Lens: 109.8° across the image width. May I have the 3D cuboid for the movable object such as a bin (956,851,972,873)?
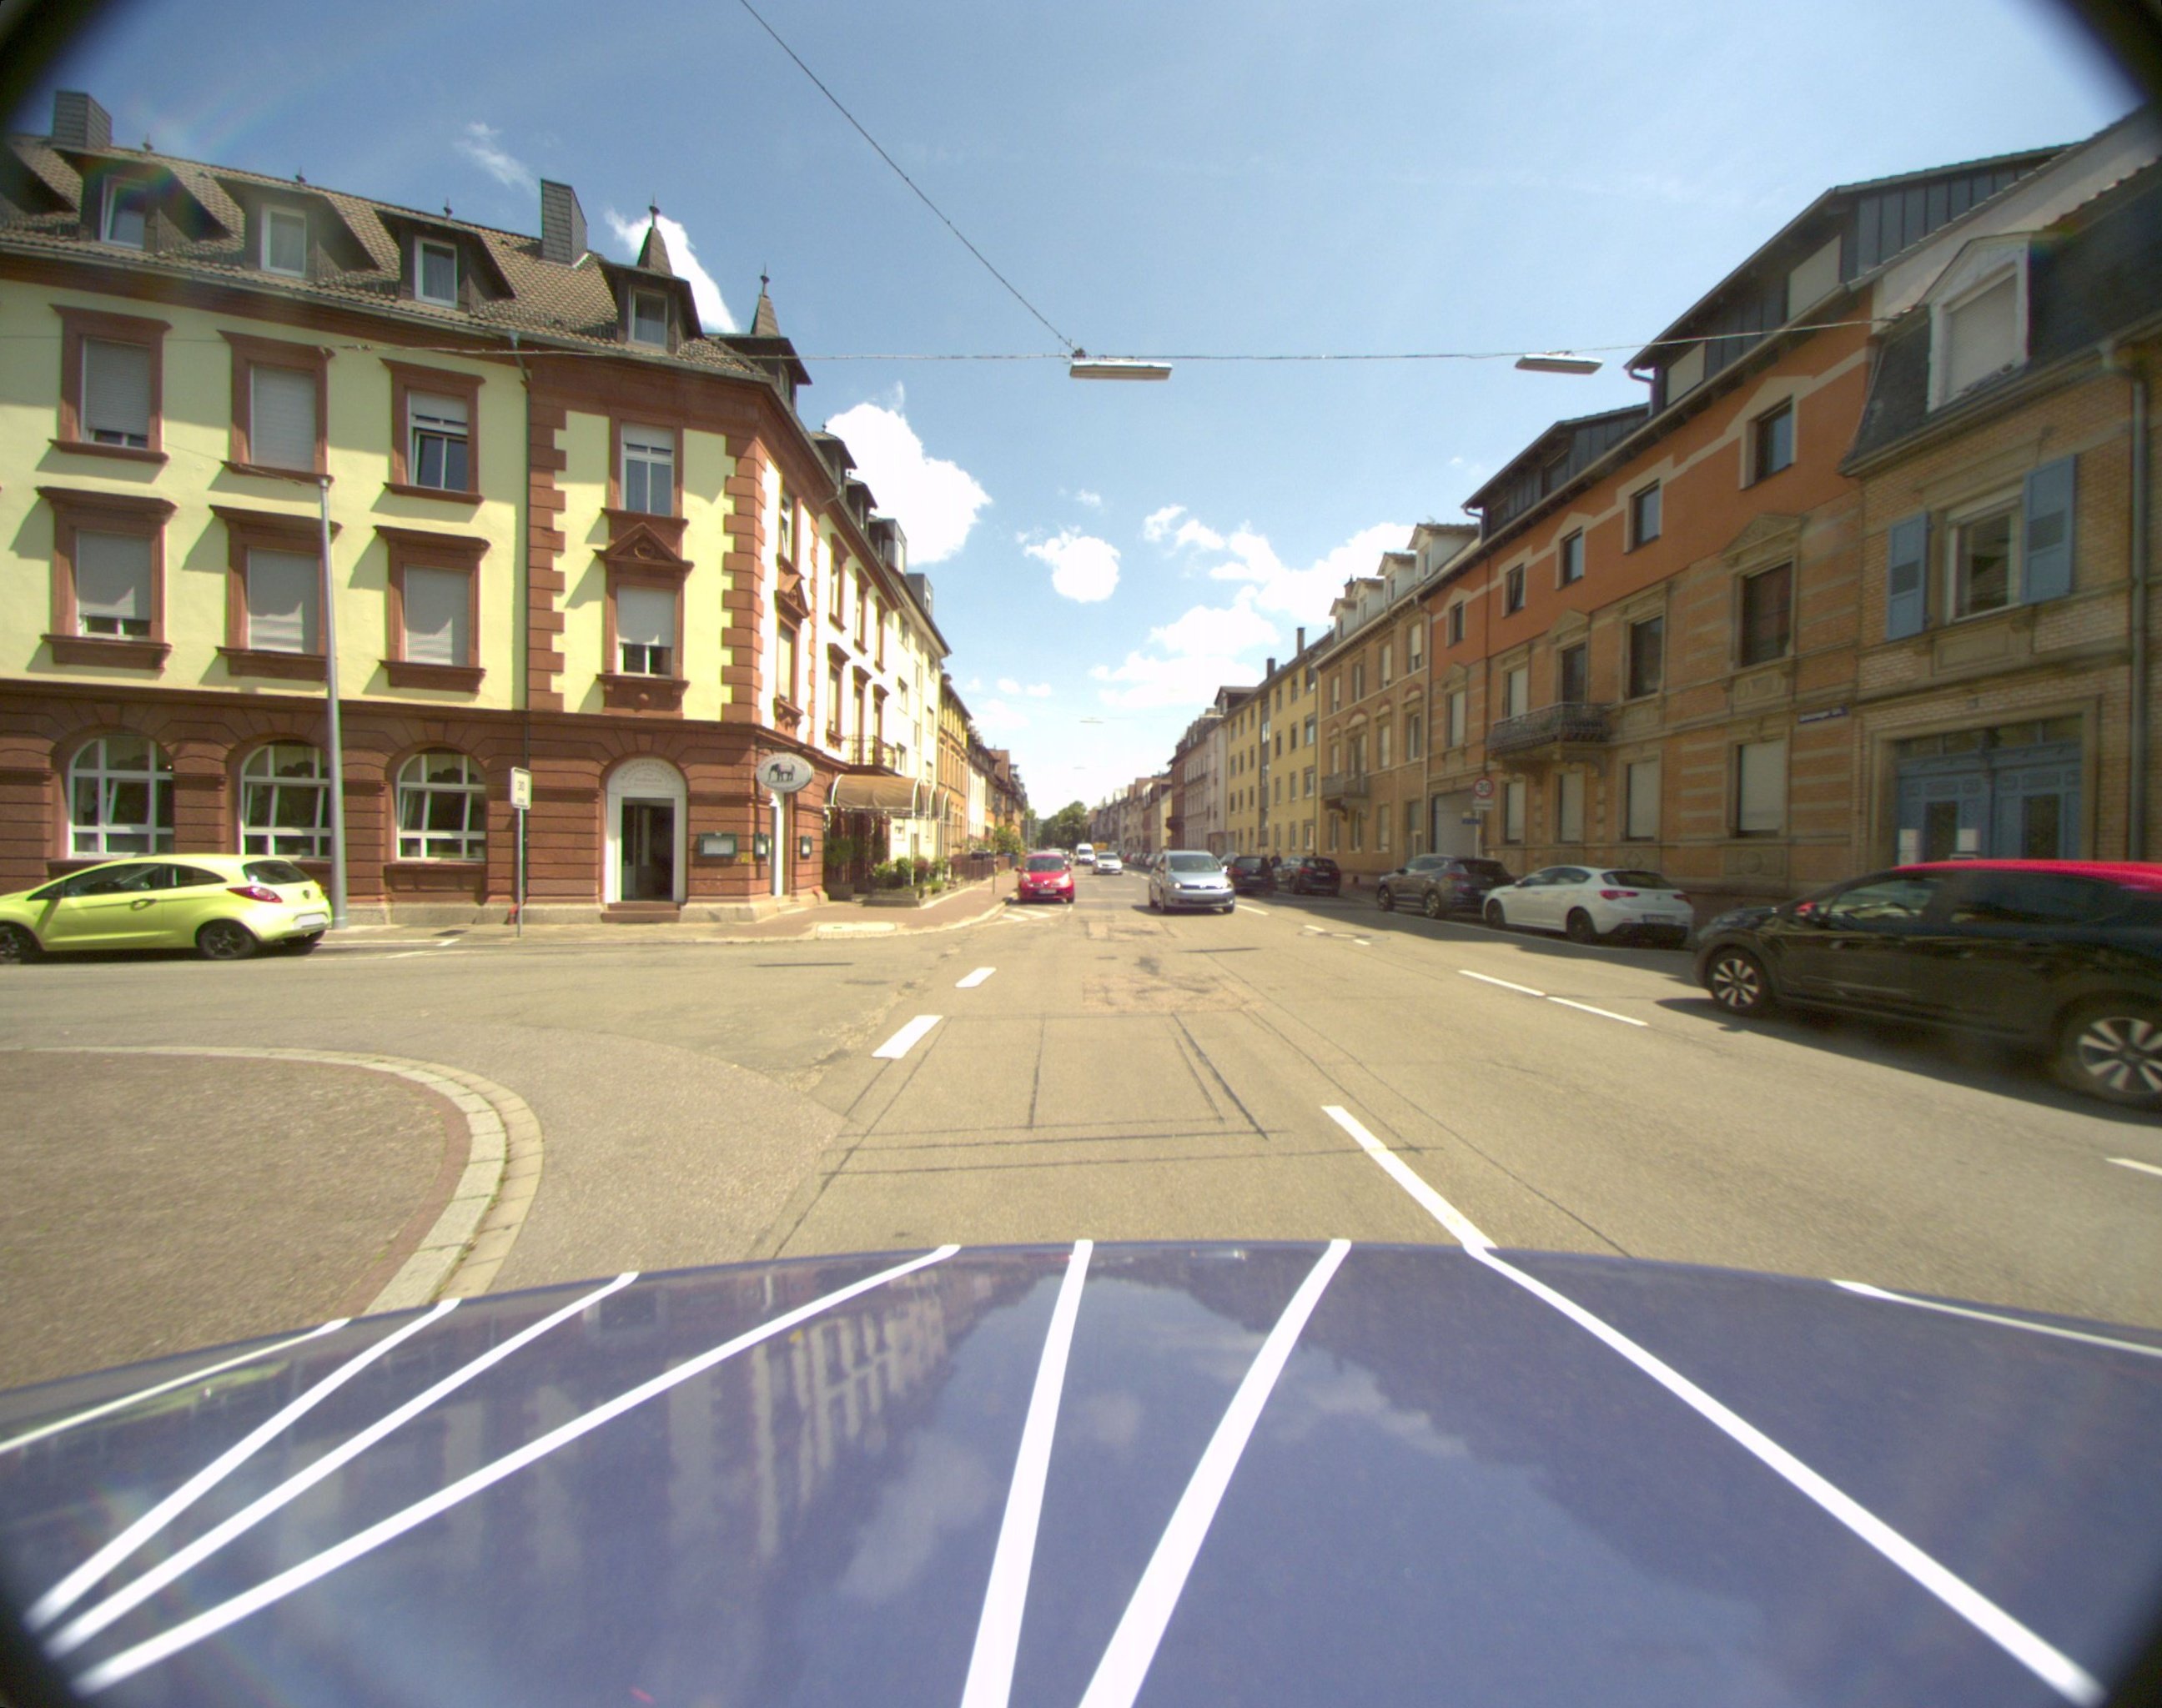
[{"bbox_3d":[-6.299,0.446,40.955,0.723,1.161,0.747,1,1,-3],"label":"movable object such as a bin"}]

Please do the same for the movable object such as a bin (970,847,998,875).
[{"bbox_3d":[-5.073,0.340,39.664,1.285,1.402,1.304,1,1,-1],"label":"movable object such as a bin"}]

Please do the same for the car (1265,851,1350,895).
[{"bbox_3d":[9.291,0.743,31.529,1.870,1.542,4.498,4,0,-3],"label":"car"}]

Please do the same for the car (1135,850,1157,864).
[{"bbox_3d":[7.489,0.325,87.924,1.750,1.403,4.102,4,0,-5],"label":"car"}]

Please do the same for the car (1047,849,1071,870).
[{"bbox_3d":[-1.696,0.394,57.405,1.709,1.470,3.930,-2,1,-2],"label":"car"}]

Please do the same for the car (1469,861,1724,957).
[{"bbox_3d":[9.777,0.952,14.940,1.870,1.418,4.329,4,0,-2],"label":"car"}]

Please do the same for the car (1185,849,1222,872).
[{"bbox_3d":[8.390,0.441,52.225,1.749,1.403,3.914,4,0,-1],"label":"car"}]

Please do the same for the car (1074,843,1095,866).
[{"bbox_3d":[0.307,0.052,78.580,1.905,2.261,5.670,0,1,-2],"label":"car"}]

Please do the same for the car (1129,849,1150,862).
[{"bbox_3d":[7.185,0.217,93.628,1.750,1.403,4.102,4,0,-5],"label":"car"}]

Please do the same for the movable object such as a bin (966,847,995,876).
[{"bbox_3d":[-5.071,0.377,38.295,1.285,1.388,1.364,1,1,-1],"label":"movable object such as a bin"}]

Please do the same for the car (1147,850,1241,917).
[{"bbox_3d":[2.825,0.675,19.813,1.759,1.559,3.999,0,0,-1],"label":"car"}]

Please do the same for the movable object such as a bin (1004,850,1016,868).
[{"bbox_3d":[-5.056,0.367,54.144,0.753,1.235,0.877,1,1,-3],"label":"movable object such as a bin"}]

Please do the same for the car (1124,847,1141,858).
[{"bbox_3d":[6.778,-0.222,100.461,1.665,1.403,4.102,4,0,-5],"label":"car"}]

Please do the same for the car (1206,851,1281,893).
[{"bbox_3d":[6.142,0.635,29.264,1.765,1.486,4.244,1,0,-3],"label":"car"}]

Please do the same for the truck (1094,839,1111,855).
[{"bbox_3d":[3.782,-1.258,132.410,2.324,2.725,8.065,1,1,-3],"label":"truck"}]

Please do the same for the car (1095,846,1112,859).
[{"bbox_3d":[3.007,-0.182,101.977,1.913,1.601,4.444,2,1,-4],"label":"car"}]

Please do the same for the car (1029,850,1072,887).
[{"bbox_3d":[-1.332,0.615,34.707,1.762,1.542,4.065,-2,1,0],"label":"car"}]

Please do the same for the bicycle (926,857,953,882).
[{"bbox_3d":[-5.809,0.613,31.228,0.552,0.977,1.631,1,1,10],"label":"bicycle"}]

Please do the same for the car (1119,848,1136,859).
[{"bbox_3d":[6.442,-0.126,105.432,1.665,1.403,4.102,4,0,-5],"label":"car"}]

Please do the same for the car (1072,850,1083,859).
[{"bbox_3d":[-0.584,0.099,130.980,1.810,1.425,3.999,2,1,-2],"label":"car"}]

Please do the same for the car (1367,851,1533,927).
[{"bbox_3d":[9.485,0.814,20.017,1.870,1.618,4.498,4,0,-3],"label":"car"}]

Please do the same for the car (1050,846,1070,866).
[{"bbox_3d":[-1.934,0.146,69.038,1.709,1.700,3.930,-2,1,-2],"label":"car"}]

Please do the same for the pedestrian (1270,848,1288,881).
[{"bbox_3d":[10.671,0.575,40.909,0.804,1.746,0.876,1,1,6],"label":"pedestrian"}]

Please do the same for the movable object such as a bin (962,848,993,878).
[{"bbox_3d":[-5.021,0.414,36.880,1.285,1.388,1.412,1,1,-1],"label":"movable object such as a bin"}]

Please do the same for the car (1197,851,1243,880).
[{"bbox_3d":[8.579,0.665,47.206,1.870,1.542,4.312,4,0,-2],"label":"car"}]

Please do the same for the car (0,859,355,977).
[{"bbox_3d":[-13.760,0.864,11.195,4.002,1.471,1.801,0,3,-15],"label":"car"}]

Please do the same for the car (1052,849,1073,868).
[{"bbox_3d":[-1.563,0.326,63.450,1.709,1.470,3.930,-2,1,-2],"label":"car"}]

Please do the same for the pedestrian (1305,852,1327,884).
[{"bbox_3d":[11.348,0.673,36.764,0.804,1.526,0.876,1,1,3],"label":"pedestrian"}]

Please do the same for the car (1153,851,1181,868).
[{"bbox_3d":[7.925,0.470,70.463,1.750,1.403,4.511,4,0,-4],"label":"car"}]

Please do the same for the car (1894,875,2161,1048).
[{"bbox_3d":[10.197,1.020,6.356,1.870,1.398,4.328,4,0,-5],"label":"car"}]

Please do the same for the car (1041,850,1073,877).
[{"bbox_3d":[-1.477,0.525,45.238,1.762,1.470,4.417,-2,1,-3],"label":"car"}]

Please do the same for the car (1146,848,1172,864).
[{"bbox_3d":[7.834,0.158,76.808,1.750,1.403,4.102,4,0,-5],"label":"car"}]

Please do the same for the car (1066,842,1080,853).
[{"bbox_3d":[-1.160,-0.871,104.719,1.905,1.489,4.486,0,1,-1],"label":"car"}]

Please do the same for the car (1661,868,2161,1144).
[{"bbox_3d":[6.897,0.902,5.789,1.706,1.469,4.132,1,0,-1],"label":"car"}]

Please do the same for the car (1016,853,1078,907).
[{"bbox_3d":[-1.127,0.756,24.071,1.762,1.470,3.782,-2,1,-5],"label":"car"}]

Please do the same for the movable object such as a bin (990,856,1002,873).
[{"bbox_3d":[-4.742,0.606,42.563,0.626,0.923,0.612,1,1,-3],"label":"movable object such as a bin"}]

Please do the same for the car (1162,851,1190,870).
[{"bbox_3d":[8.118,0.550,65.055,1.749,1.403,4.283,4,0,-1],"label":"car"}]

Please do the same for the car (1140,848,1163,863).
[{"bbox_3d":[7.631,0.118,82.417,1.750,1.403,4.102,4,0,-5],"label":"car"}]

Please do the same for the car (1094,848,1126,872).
[{"bbox_3d":[1.871,0.383,50.212,1.905,1.489,4.486,0,1,-1],"label":"car"}]

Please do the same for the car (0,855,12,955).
[{"bbox_3d":[-17.795,0.791,10.018,4.002,1.471,1.801,0,3,-15],"label":"car"}]
